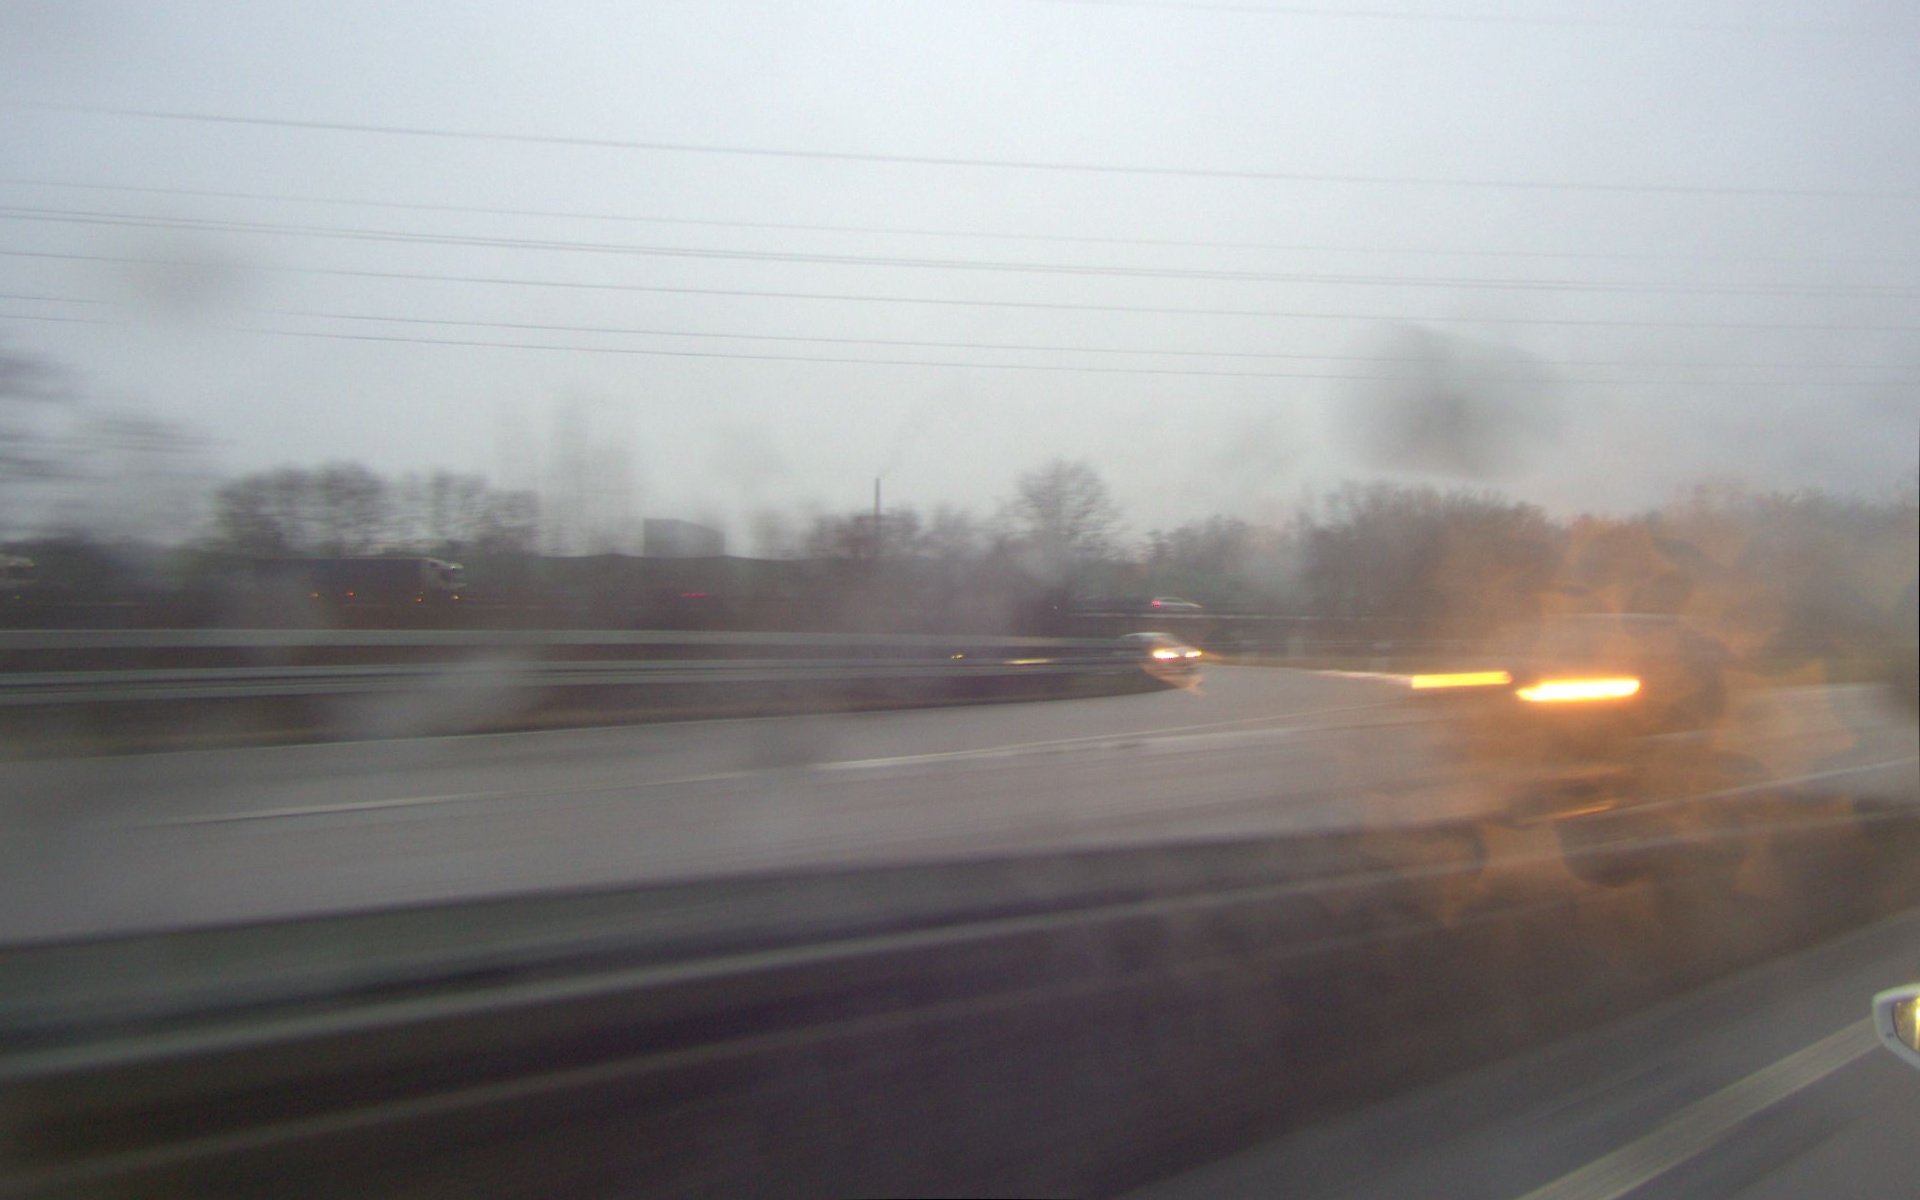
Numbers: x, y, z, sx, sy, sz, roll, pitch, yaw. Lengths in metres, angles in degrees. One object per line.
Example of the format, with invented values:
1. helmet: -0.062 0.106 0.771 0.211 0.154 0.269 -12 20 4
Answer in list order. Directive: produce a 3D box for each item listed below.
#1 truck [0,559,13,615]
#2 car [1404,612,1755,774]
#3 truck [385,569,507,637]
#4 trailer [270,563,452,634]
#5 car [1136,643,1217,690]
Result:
1. truck: -86.503 -1.449 82.408 13.612 4.672 3.283 3 1 -5
2. car: 6.912 0.932 11.130 3.952 1.521 1.639 1 -2 -30
3. truck: -43.472 0.252 85.200 8.357 5.198 3.284 3 1 -4
4. trailer: -50.389 -0.147 84.788 12.976 5.171 3.311 3 1 -3
5. car: 8.653 2.629 40.500 1.885 1.654 3.852 -1 0 -10
